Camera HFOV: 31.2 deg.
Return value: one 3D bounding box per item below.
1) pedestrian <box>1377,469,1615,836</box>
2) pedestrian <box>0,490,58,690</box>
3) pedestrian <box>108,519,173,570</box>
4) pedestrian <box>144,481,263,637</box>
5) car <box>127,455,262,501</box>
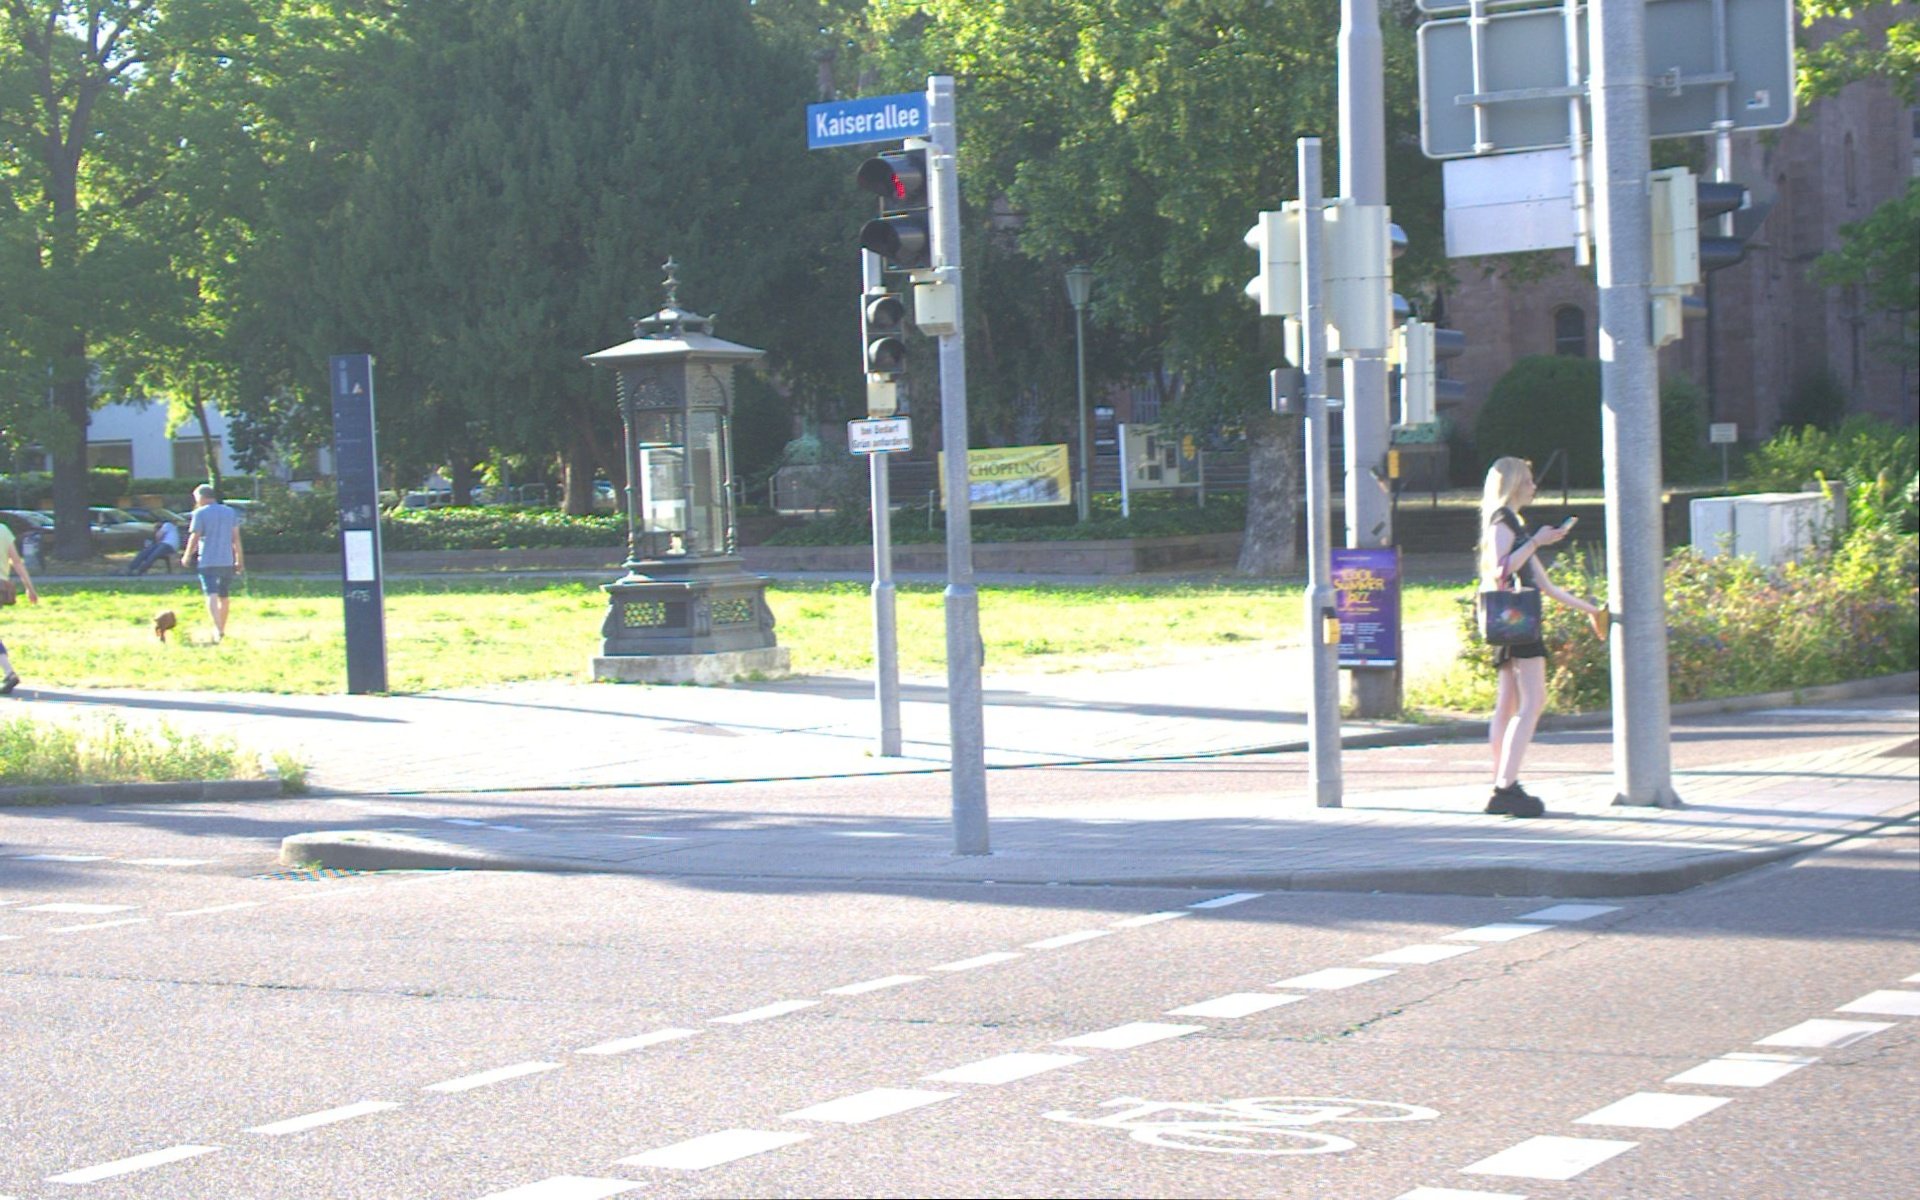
[{"bbox_3d":[2.649,0.236,16.944,0.811,1.733,0.966,0,2,32],"label":"pedestrian"},{"bbox_3d":[-8.375,-0.101,29.774,0.708,1.690,0.895,-3,4,-44],"label":"pedestrian"},{"bbox_3d":[-15.782,-1.069,66.228,0.802,0.950,1.174,0,3,10],"label":"pedestrian"},{"bbox_3d":[-8.435,-0.473,38.327,1.016,1.690,0.842,2,4,44],"label":"pedestrian"},{"bbox_3d":[-28.174,-4.496,126.541,4.454,1.566,1.998,-1,2,20],"label":"car"}]
